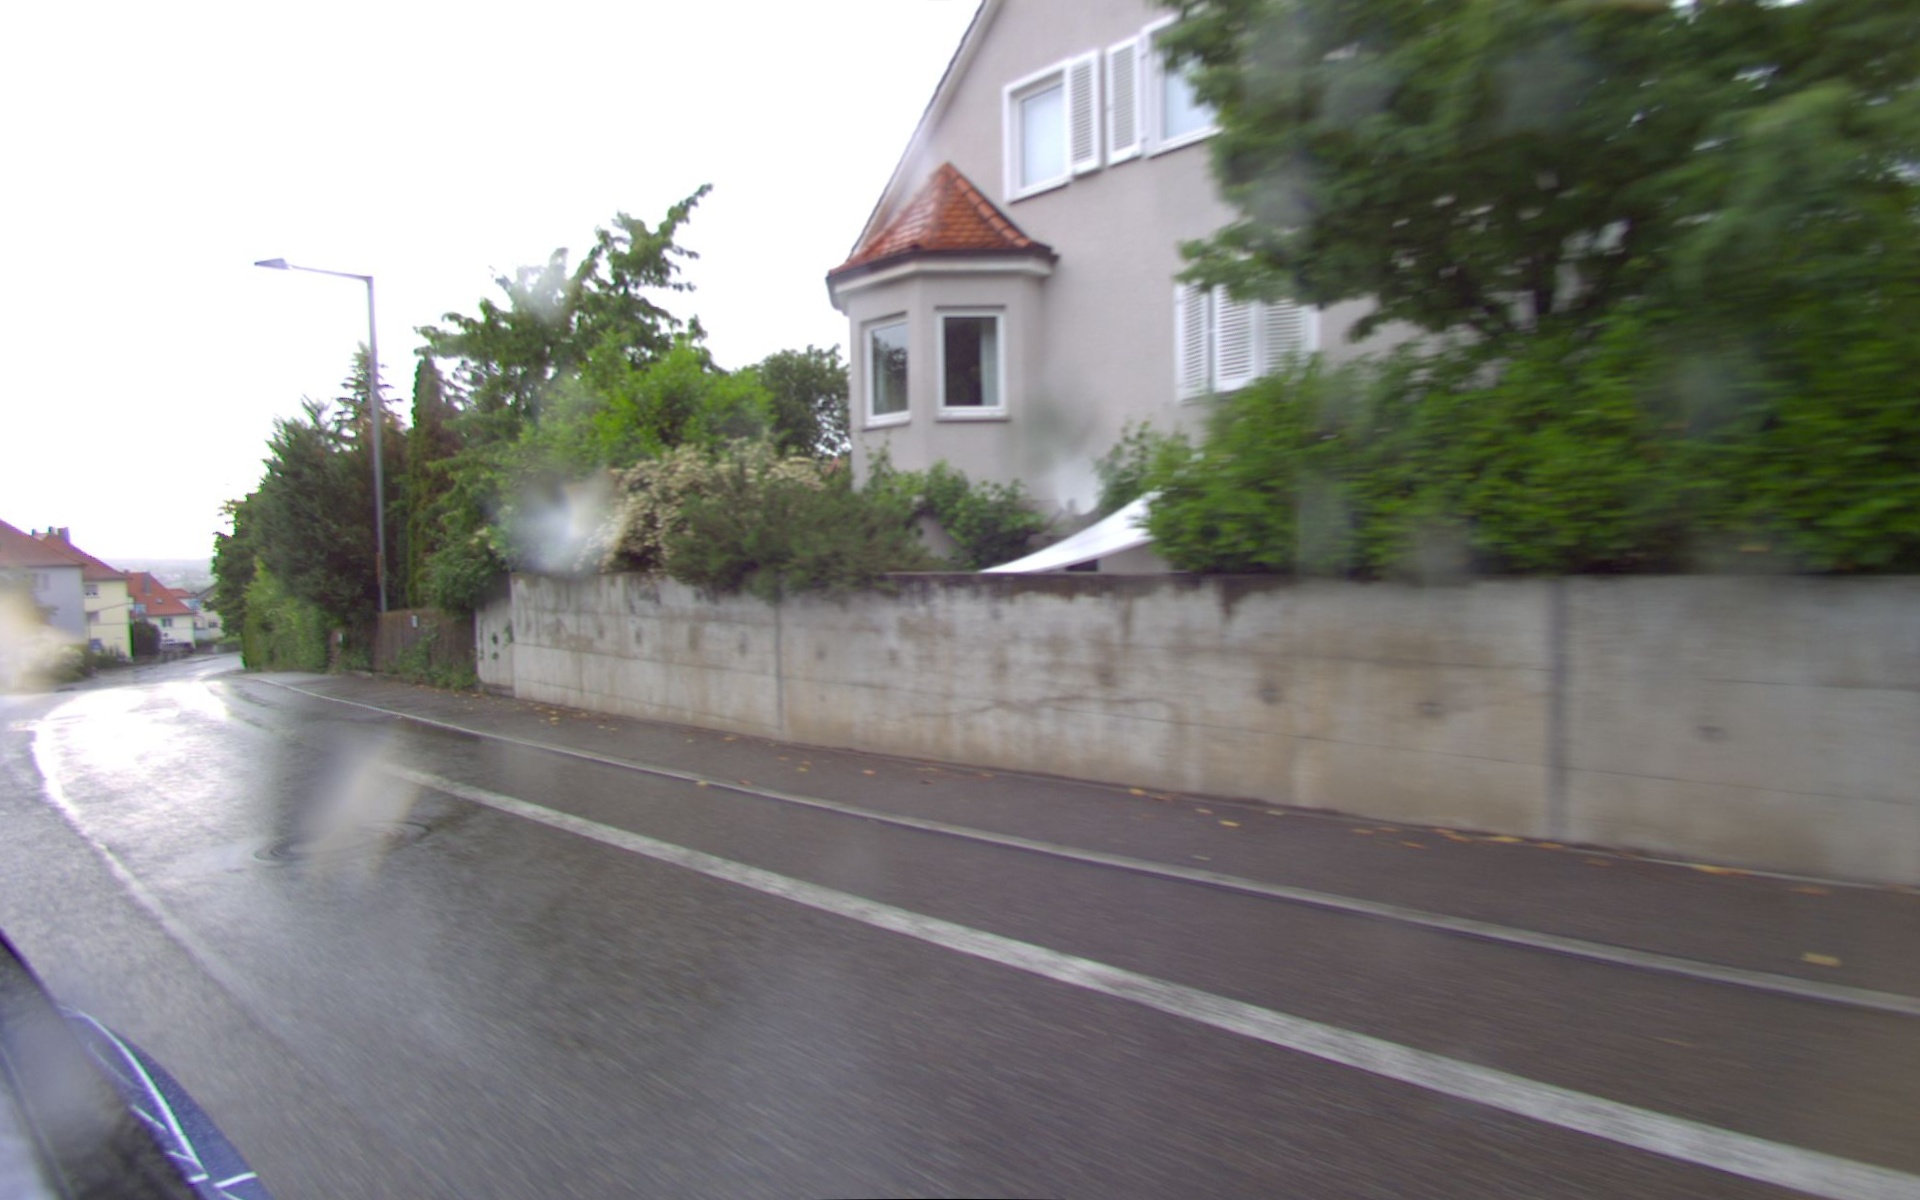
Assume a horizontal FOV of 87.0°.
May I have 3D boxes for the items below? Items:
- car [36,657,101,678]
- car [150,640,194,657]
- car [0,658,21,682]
[{"bbox_3d":[-81.901,6.192,93.021,4.026,1.418,1.729,-5,1,-15],"label":"car"},{"bbox_3d":[-93.942,5.734,120.649,1.768,1.795,3.886,0,1,37],"label":"car"},{"bbox_3d":[-70.704,5.148,74.418,3.787,1.575,1.703,1,0,36],"label":"car"}]
